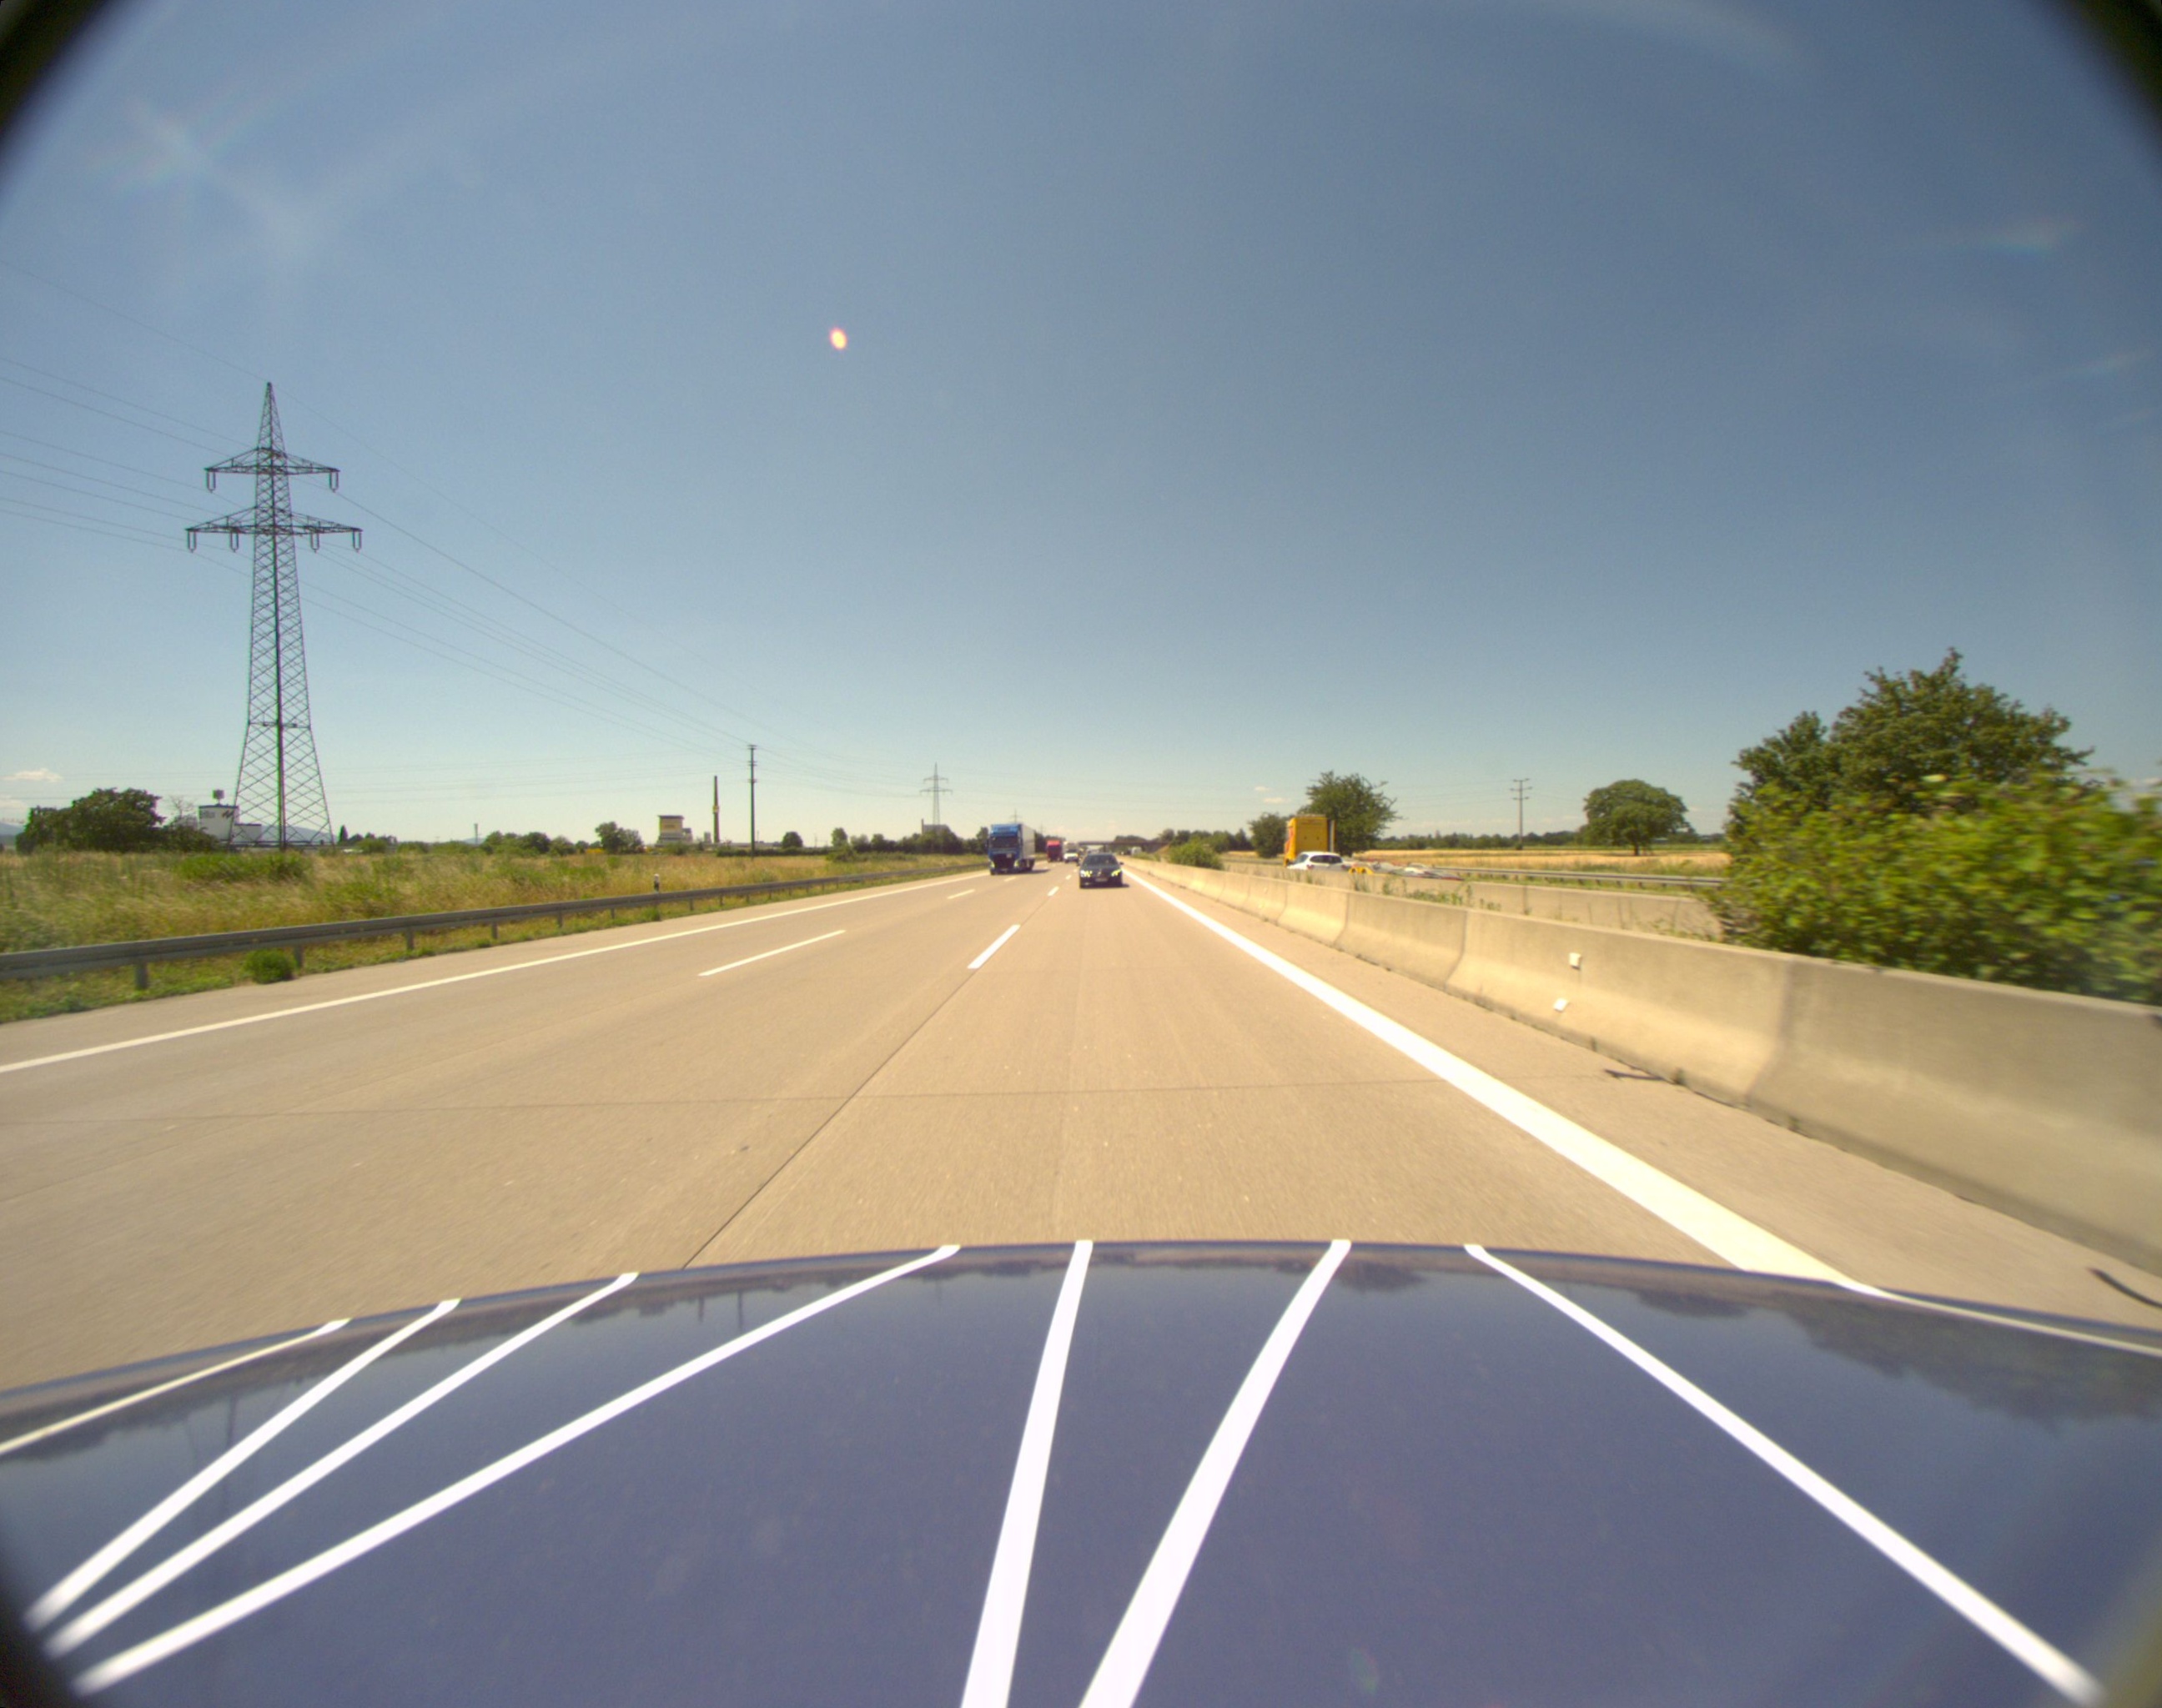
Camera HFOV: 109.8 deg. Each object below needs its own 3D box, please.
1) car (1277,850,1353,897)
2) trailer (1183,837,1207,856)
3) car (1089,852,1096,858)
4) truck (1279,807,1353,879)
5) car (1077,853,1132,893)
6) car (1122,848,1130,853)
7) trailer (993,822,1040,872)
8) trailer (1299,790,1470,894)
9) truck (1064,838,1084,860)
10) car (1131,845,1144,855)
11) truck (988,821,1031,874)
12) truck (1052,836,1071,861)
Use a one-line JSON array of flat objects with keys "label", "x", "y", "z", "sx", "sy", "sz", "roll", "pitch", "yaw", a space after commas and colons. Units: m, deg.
[{"label": "car", "x": 9.650, "y": 0.751, "z": 31.722, "sx": 1.710, "sy": 1.793, "sz": 4.713, "roll": 0, "pitch": 0, "yaw": 0}, {"label": "trailer", "x": 20.536, "y": -1.343, "z": 136.975, "sx": 2.835, "sy": 3.285, "sz": 9.462, "roll": -3, "pitch": 0, "yaw": 1}, {"label": "car", "x": 2.820, "y": 0.217, "z": 191.390, "sx": 1.683, "sy": 1.444, "sz": 3.564, "roll": -2, "pitch": 0, "yaw": 2}, {"label": "truck", "x": 14.280, "y": -0.638, "z": 46.629, "sx": 2.750, "sy": 4.056, "sz": 5.540, "roll": -3, "pitch": 1, "yaw": 1}, {"label": "car", "x": 0.865, "y": 0.693, "z": 30.964, "sx": 1.998, "sy": 1.462, "sz": 6.347, "roll": 0, "pitch": 0, "yaw": 0}, {"label": "car", "x": 14.284, "y": -1.015, "z": 241.879, "sx": 1.998, "sy": 1.440, "sz": 4.682, "roll": -3, "pitch": 0, "yaw": 1}, {"label": "trailer", "x": -5.652, "y": -0.592, "z": 68.820, "sx": 2.715, "sy": 4.020, "sz": 12.902, "roll": -2, "pitch": 0, "yaw": 1}, {"label": "trailer", "x": 14.124, "y": -0.524, "z": 37.413, "sx": 2.783, "sy": 4.016, "sz": 14.612, "roll": -3, "pitch": 0, "yaw": 1}, {"label": "truck", "x": -1.006, "y": -0.781, "z": 118.224, "sx": 2.784, "sy": 3.328, "sz": 7.812, "roll": -3, "pitch": 0, "yaw": 1}, {"label": "car", "x": 12.273, "y": -0.843, "z": 165.158, "sx": 2.216, "sy": 2.176, "sz": 6.325, "roll": -3, "pitch": 0, "yaw": 1}, {"label": "truck", "x": -5.762, "y": -0.549, "z": 62.078, "sx": 2.757, "sy": 4.020, "sz": 5.466, "roll": -3, "pitch": 1, "yaw": 1}, {"label": "truck", "x": -3.664, "y": -1.018, "z": 142.813, "sx": 2.855, "sy": 4.298, "sz": 10.886, "roll": -2, "pitch": 0, "yaw": 2}]
